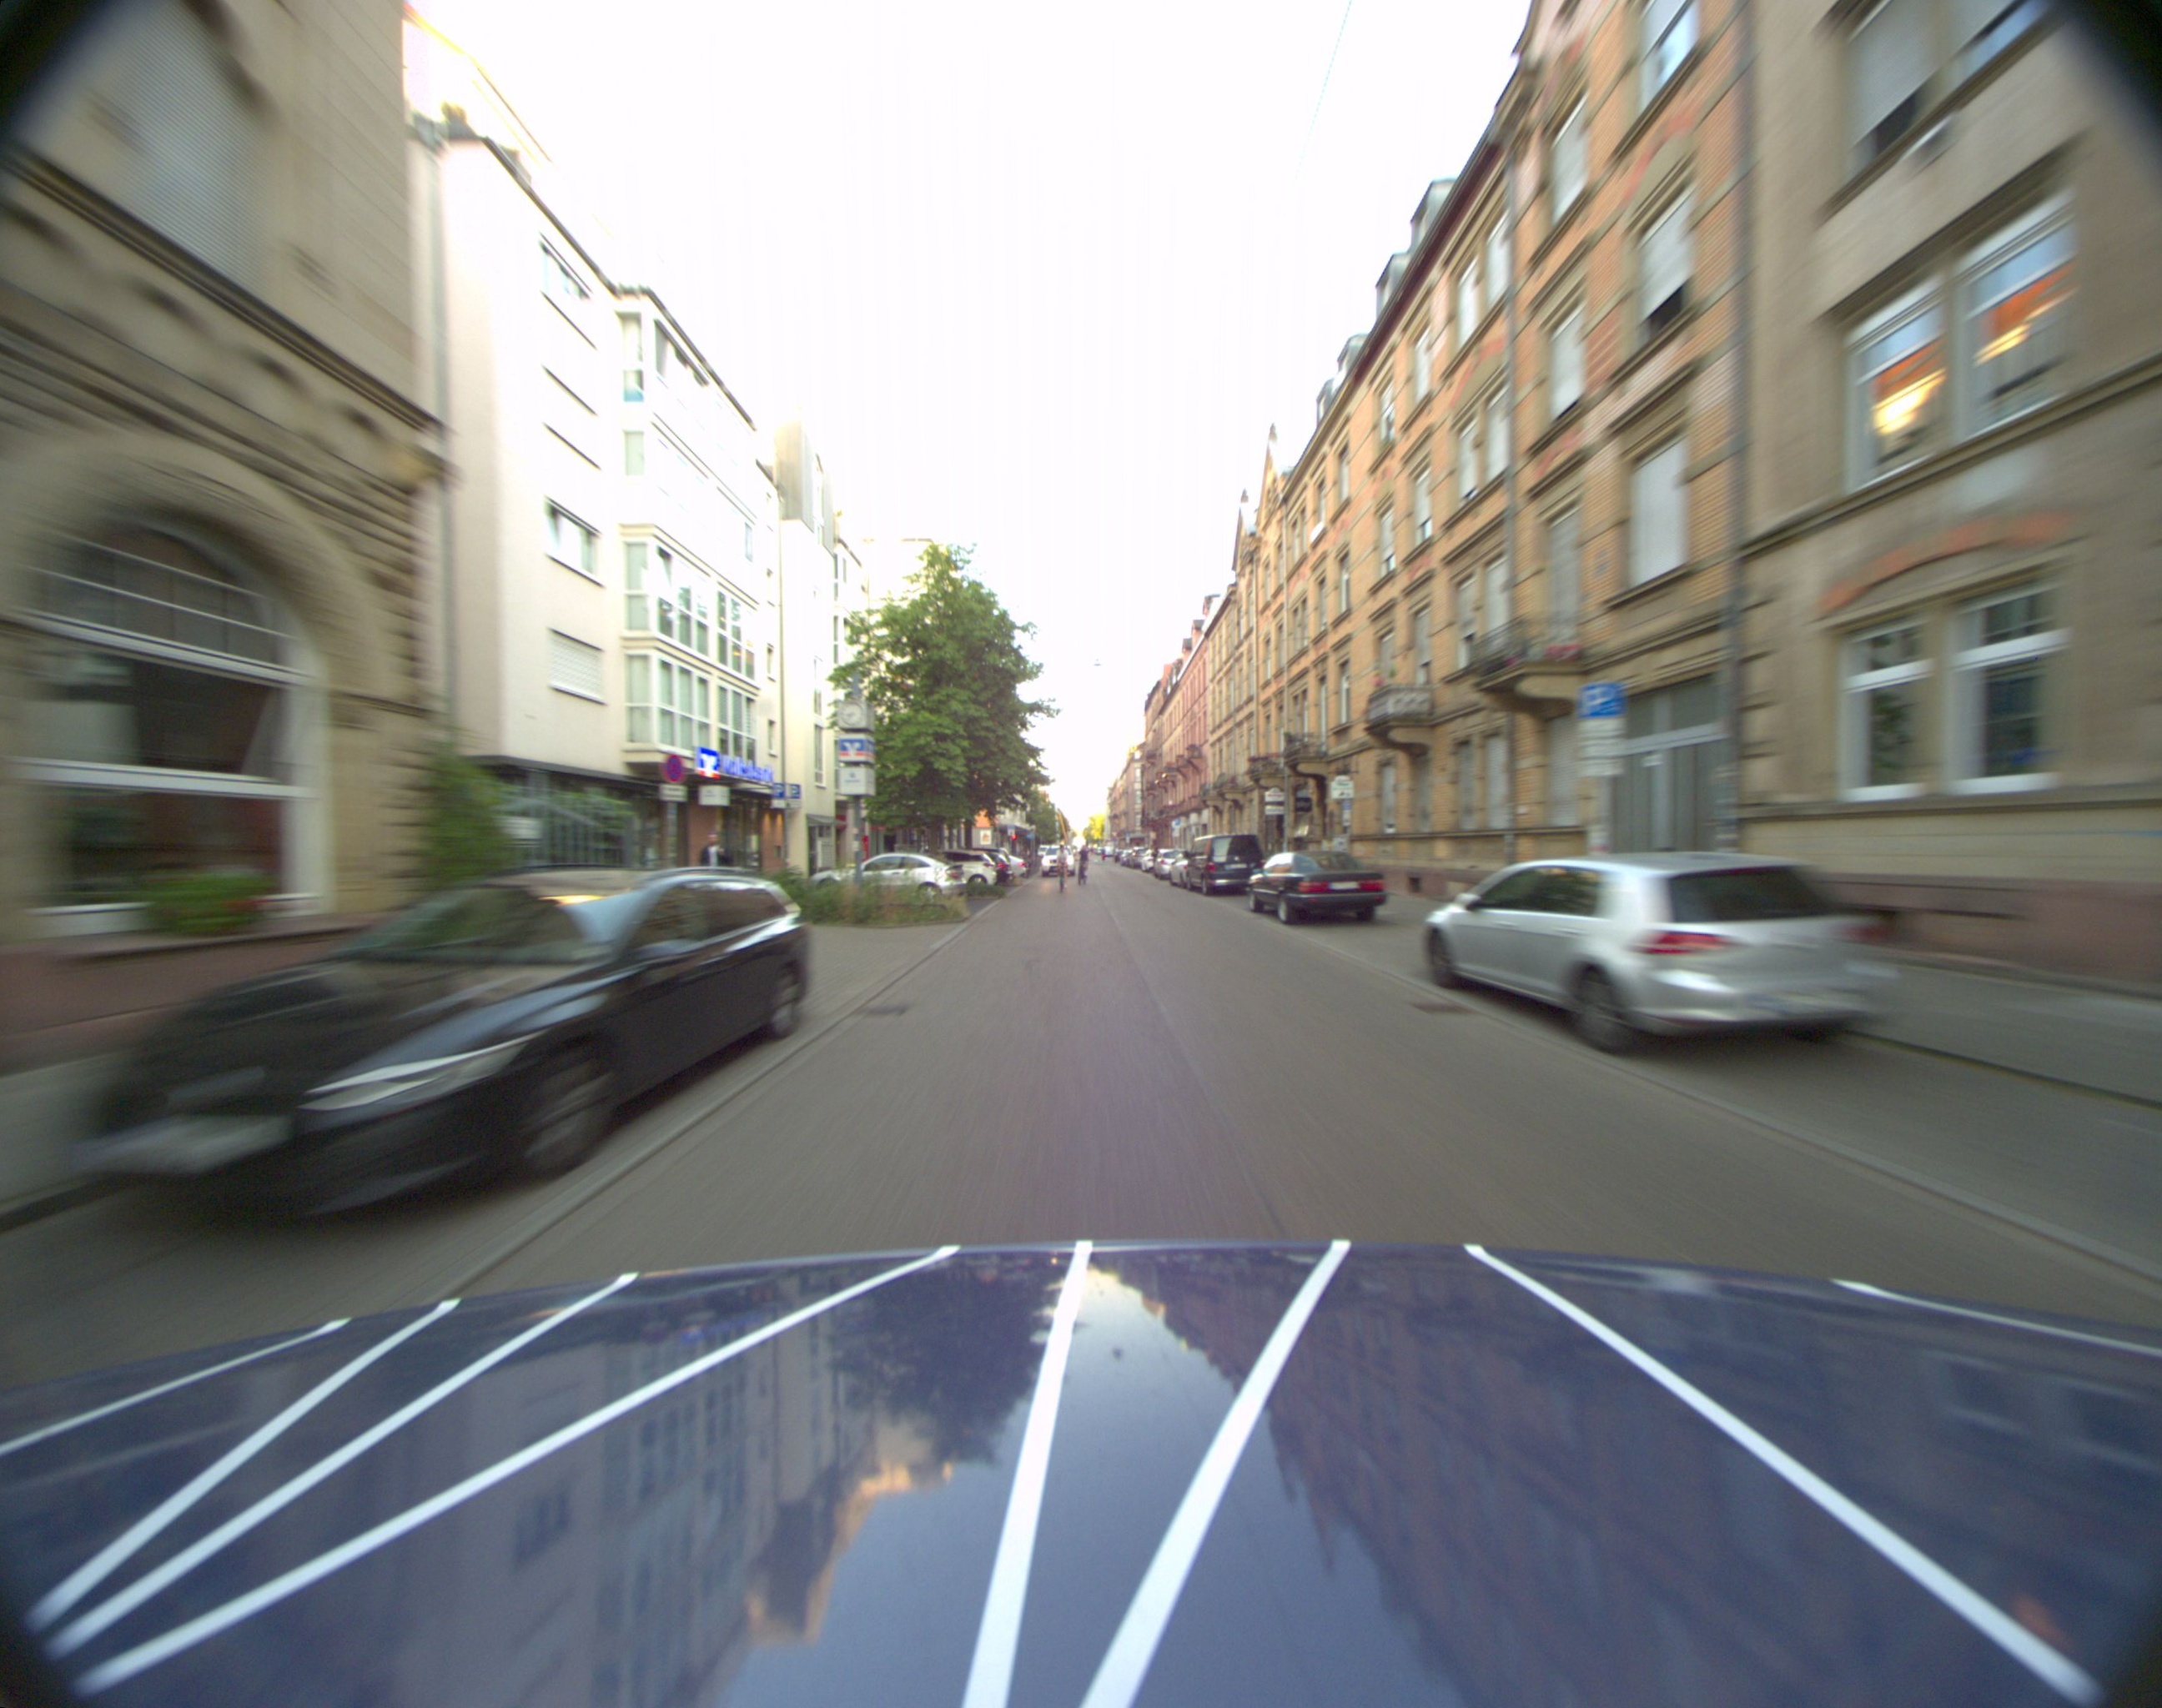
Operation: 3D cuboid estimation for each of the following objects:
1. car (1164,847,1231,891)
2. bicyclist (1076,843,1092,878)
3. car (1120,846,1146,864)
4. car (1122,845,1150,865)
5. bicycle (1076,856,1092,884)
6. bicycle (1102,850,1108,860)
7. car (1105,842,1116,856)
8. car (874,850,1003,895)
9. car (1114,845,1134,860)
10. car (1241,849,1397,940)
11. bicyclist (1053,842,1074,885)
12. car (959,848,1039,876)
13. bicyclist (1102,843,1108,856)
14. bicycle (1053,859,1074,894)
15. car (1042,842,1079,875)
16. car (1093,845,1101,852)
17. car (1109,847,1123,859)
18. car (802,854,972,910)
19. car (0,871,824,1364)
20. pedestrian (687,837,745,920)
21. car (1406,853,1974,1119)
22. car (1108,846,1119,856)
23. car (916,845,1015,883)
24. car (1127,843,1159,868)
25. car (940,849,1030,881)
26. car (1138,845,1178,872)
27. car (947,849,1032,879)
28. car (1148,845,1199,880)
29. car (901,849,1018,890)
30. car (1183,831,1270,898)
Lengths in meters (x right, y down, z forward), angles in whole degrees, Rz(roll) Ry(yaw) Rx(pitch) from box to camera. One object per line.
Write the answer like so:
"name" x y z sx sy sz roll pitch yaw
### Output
"car" 4.586 0.553 30.578 1.758 1.466 4.056 -6 1 -3
"bicyclist" 0.131 0.286 32.912 0.686 1.503 0.973 -1 1 0
"car" 4.672 0.050 69.180 1.758 1.426 4.056 -6 1 -3
"car" 4.548 0.089 63.544 1.758 1.426 4.056 -6 1 -3
"bicycle" 0.138 0.690 33.088 0.686 1.145 2.115 -1 1 0
"bicycle" 2.764 0.122 87.410 0.686 1.145 2.115 -1 1 0
"car" 5.495 -0.948 141.082 1.757 2.264 4.057 -6 1 1
"car" -5.075 0.629 27.501 4.301 1.520 1.823 -1 1 -1
"car" 4.705 -0.150 83.670 1.757 1.426 4.056 -6 1 0
"car" 4.749 0.710 15.863 1.757 1.466 4.279 -6 1 0
"bicyclist" -0.610 0.320 27.031 0.686 1.503 0.973 -1 1 0
"car" -4.561 0.429 42.836 4.301 1.520 1.823 -1 1 -1
"bicyclist" 2.764 -0.479 87.392 0.686 1.503 1.036 -1 1 0
"bicycle" -0.607 0.771 27.029 0.686 1.145 2.115 -1 1 0
"car" -1.159 0.223 44.276 1.957 1.729 4.284 -3 1 0
"car" 3.768 -1.318 179.089 1.757 1.426 4.057 -6 1 1
"car" 4.736 -0.144 103.424 1.757 1.426 4.057 -6 1 1
"car" -5.331 0.752 21.301 4.301 1.443 1.823 -1 1 -1
"car" -3.311 0.936 4.814 1.768 1.476 4.556 1 1 1
"pedestrian" -8.040 0.523 16.747 0.851 1.756 0.833 1 1 4
"car" 4.687 0.833 6.792 1.757 1.466 4.057 -6 1 1
"car" 5.606 -0.541 131.497 1.757 1.426 4.057 -6 1 1
"car" -5.275 0.452 35.233 4.301 1.666 1.823 -1 1 -1
"car" 4.654 0.120 57.533 1.758 1.663 4.056 -6 1 -3
"car" -4.753 0.525 38.053 4.301 1.528 1.823 -1 1 -1
"car" 4.744 0.271 47.222 1.758 1.426 4.056 -6 1 -3
"car" -4.811 0.513 40.362 4.301 1.520 1.823 -1 1 -1
"car" 4.596 0.396 38.173 1.758 1.466 4.056 -6 1 -3
"car" -4.710 0.590 29.897 4.301 1.520 1.823 -1 1 -1
"car" 4.748 0.317 25.416 1.874 1.949 4.291 -4 1 -2
